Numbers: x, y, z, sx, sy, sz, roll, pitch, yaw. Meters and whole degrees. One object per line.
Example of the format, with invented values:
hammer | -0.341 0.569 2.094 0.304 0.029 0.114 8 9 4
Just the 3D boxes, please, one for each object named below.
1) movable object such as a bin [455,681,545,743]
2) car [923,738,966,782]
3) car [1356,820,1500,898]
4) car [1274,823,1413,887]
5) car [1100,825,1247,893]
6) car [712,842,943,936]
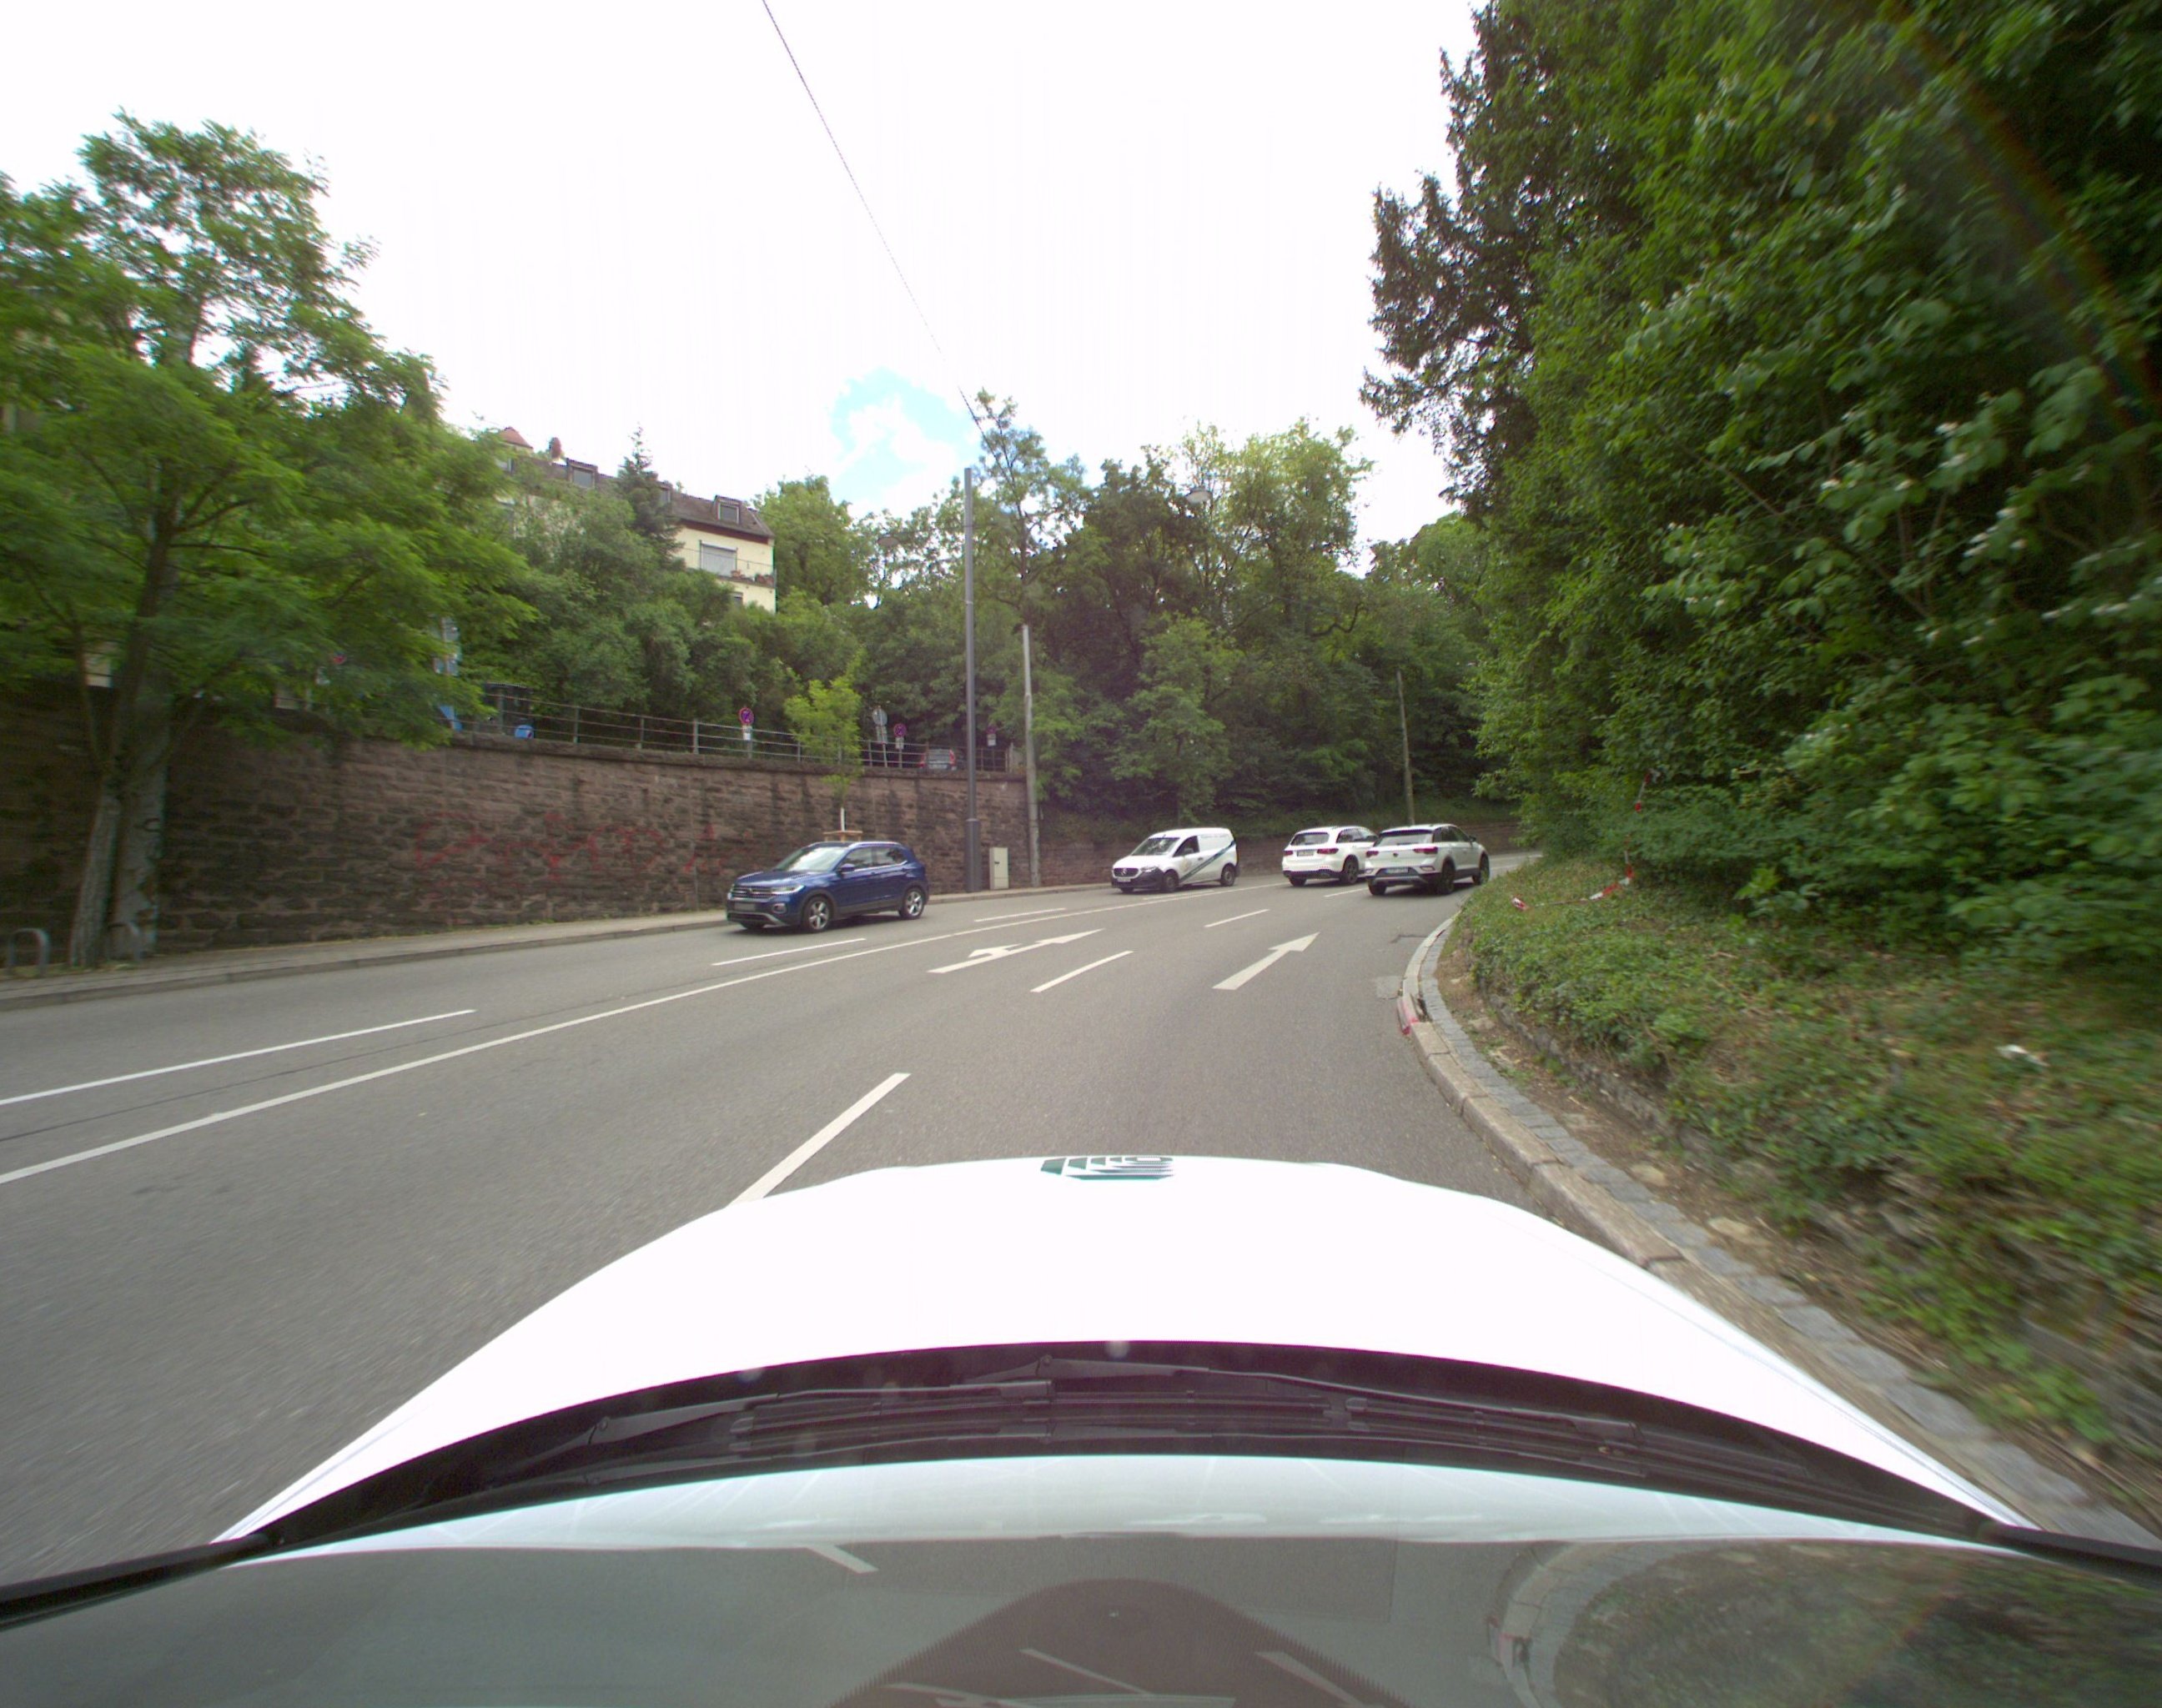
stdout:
movable object such as a bin | -16.145 -3.904 22.651 1.236 1.356 1.615 -3 0 31
car | -5.991 -4.125 36.121 1.675 1.380 3.726 0 -2 -7
car | 8.301 0.040 19.278 1.738 1.552 4.364 0 3 43
car | 7.761 -0.023 23.824 4.698 1.605 1.842 -4 1 -45
car | 2.851 0.076 24.274 4.698 1.764 1.805 -3 2 -45
car | -4.609 0.545 15.492 1.710 1.527 4.227 0 1 27
